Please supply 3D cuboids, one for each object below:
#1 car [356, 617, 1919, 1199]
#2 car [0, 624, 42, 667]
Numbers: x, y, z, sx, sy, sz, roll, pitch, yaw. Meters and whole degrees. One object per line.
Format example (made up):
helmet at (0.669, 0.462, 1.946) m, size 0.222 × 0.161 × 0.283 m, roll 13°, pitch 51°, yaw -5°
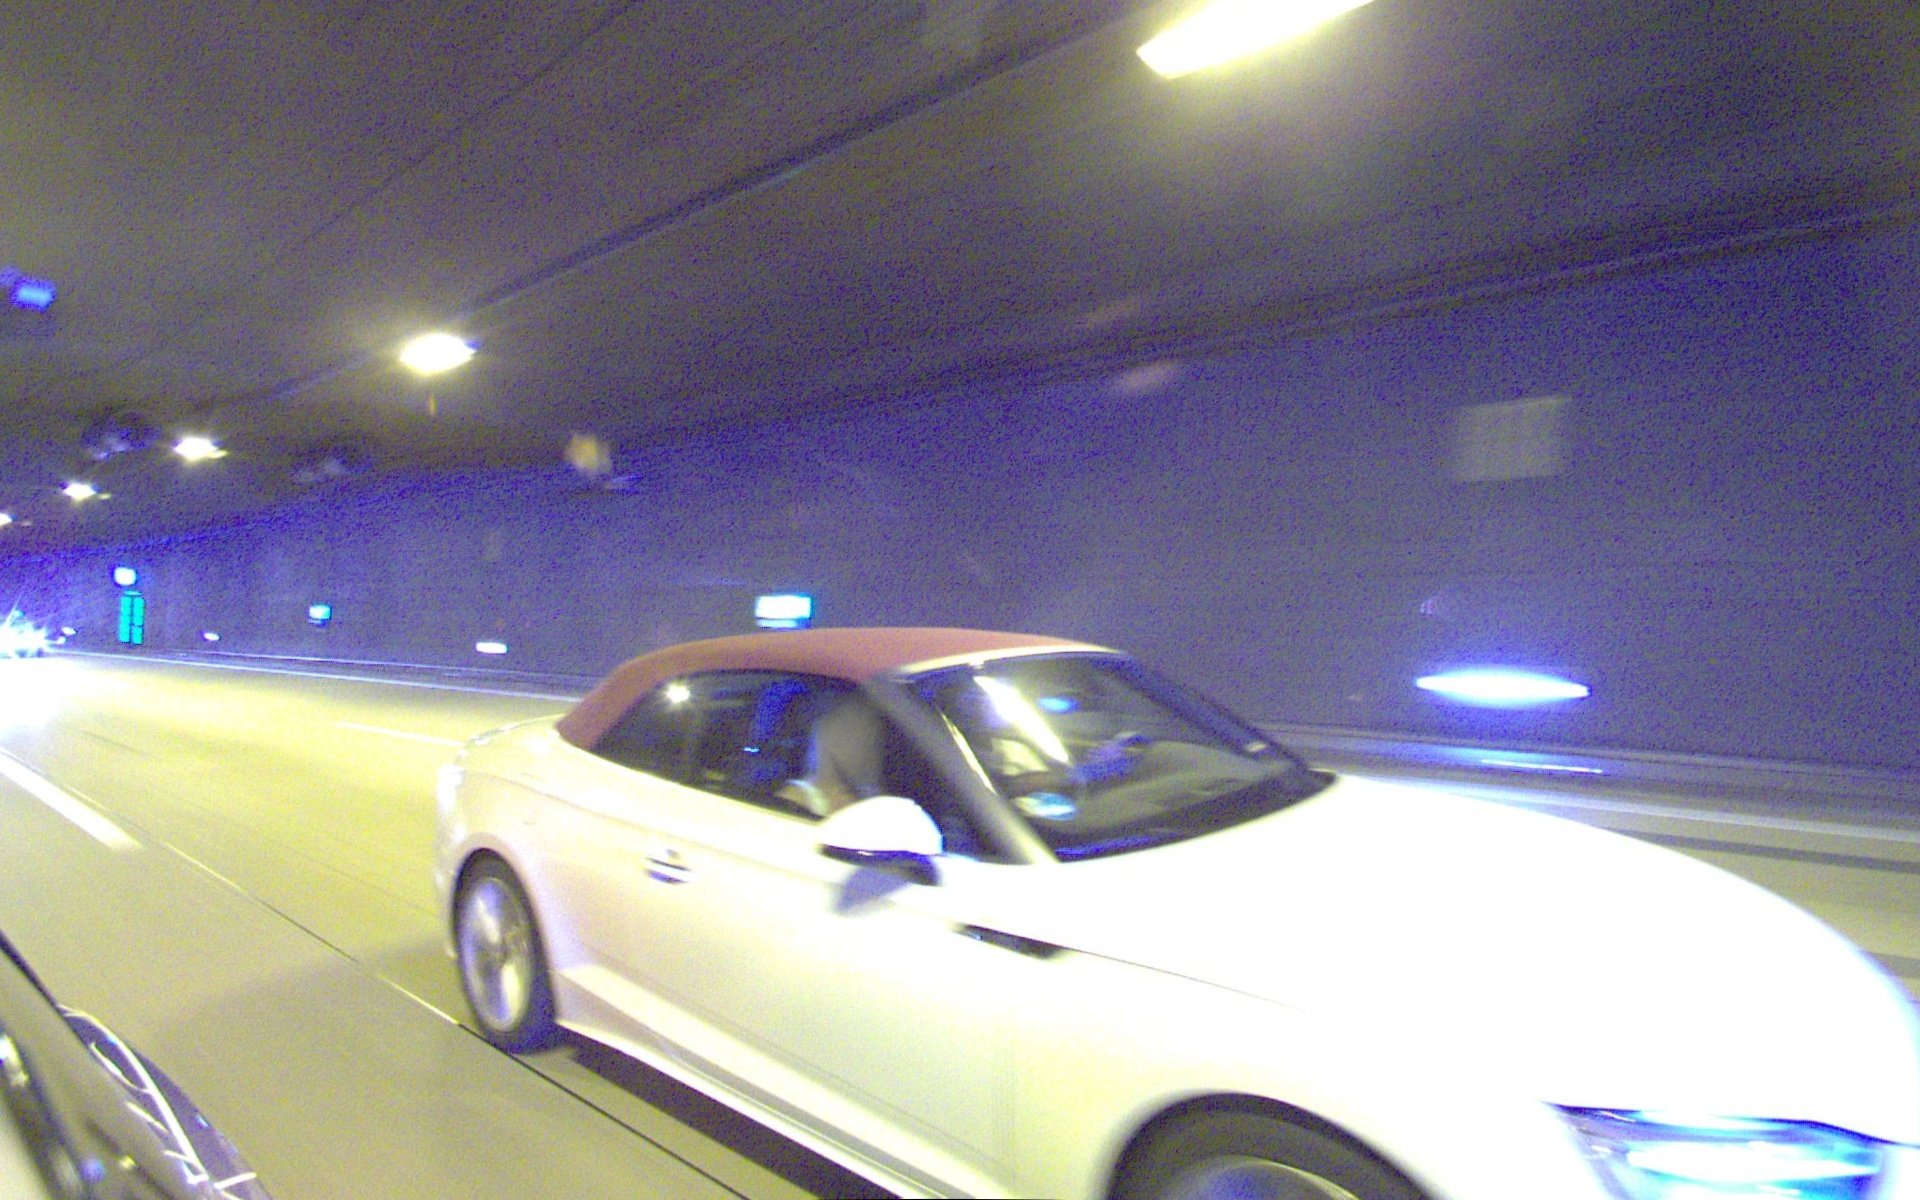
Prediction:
car at (0.113, 0.783, 2.931) m, size 5.057 × 1.429 × 1.684 m, roll 0°, pitch -1°, yaw 41°
car at (-34.423, 1.600, 36.288) m, size 3.996 × 1.466 × 1.717 m, roll -1°, pitch -1°, yaw 40°
